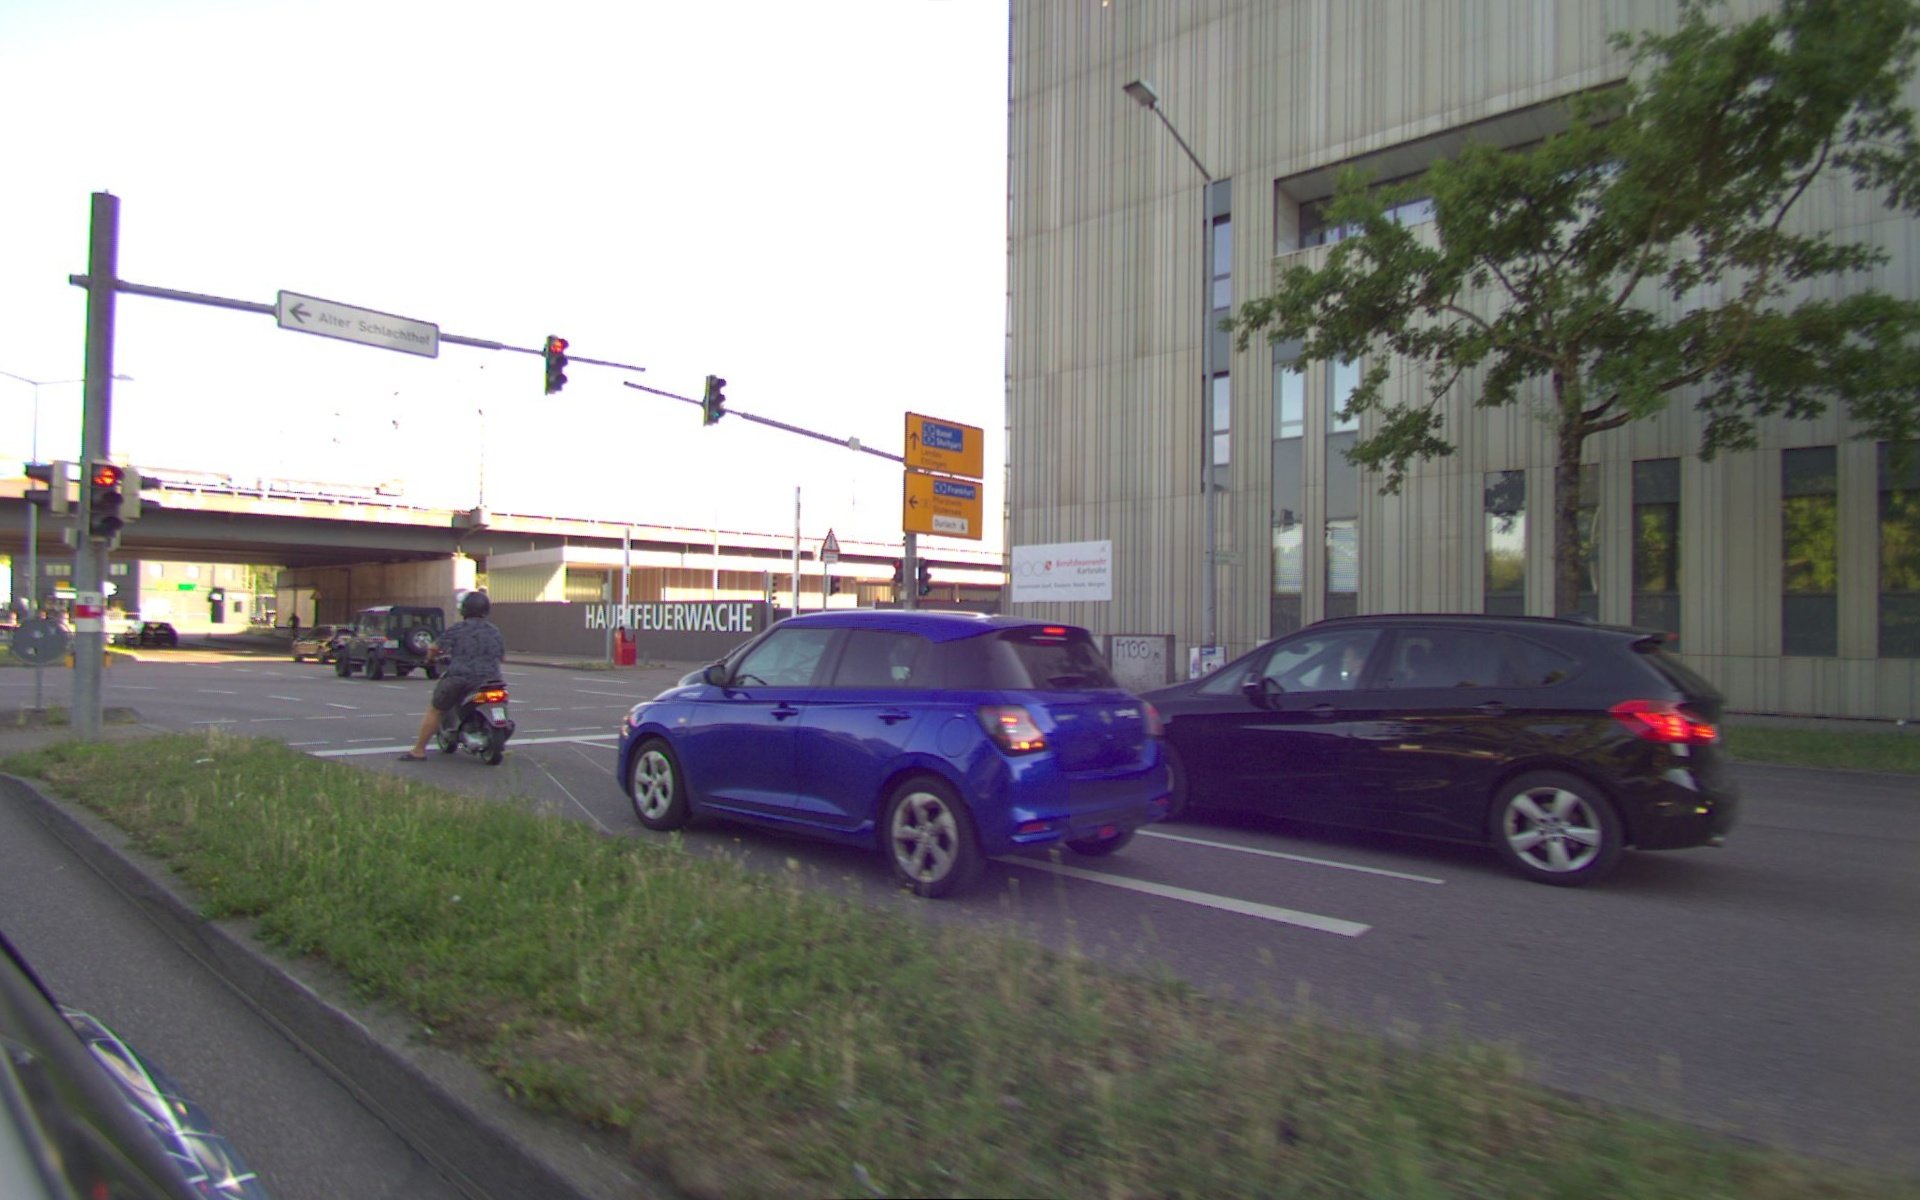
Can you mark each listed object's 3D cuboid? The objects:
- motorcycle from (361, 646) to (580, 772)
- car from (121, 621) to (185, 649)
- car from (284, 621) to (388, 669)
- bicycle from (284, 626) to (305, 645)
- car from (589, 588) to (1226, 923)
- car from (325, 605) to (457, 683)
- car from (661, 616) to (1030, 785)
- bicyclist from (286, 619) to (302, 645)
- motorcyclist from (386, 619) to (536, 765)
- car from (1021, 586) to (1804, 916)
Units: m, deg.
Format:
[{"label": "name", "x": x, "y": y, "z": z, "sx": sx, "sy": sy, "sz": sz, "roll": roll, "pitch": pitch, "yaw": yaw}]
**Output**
[{"label": "motorcycle", "x": -4.879, "y": 1.027, "z": 10.023, "sx": 2.395, "sy": 1.084, "sz": 0.833, "roll": -1, "pitch": -4, "yaw": 34}, {"label": "car", "x": -46.913, "y": 2.040, "z": 58.825, "sx": 4.345, "sy": 1.411, "sz": 1.973, "roll": 0, "pitch": -4, "yaw": 40}, {"label": "car", "x": -24.406, "y": 1.732, "z": 39.526, "sx": 4.711, "sy": 1.604, "sz": 1.973, "roll": 0, "pitch": -4, "yaw": 40}, {"label": "bicycle", "x": -41.753, "y": 2.217, "z": 63.519, "sx": 0.697, "sy": 1.165, "sz": 2.082, "roll": 0, "pitch": -2, "yaw": -45}, {"label": "car", "x": -0.515, "y": 0.744, "z": 6.364, "sx": 3.856, "sy": 1.463, "sz": 1.684, "roll": 0, "pitch": -5, "yaw": 41}, {"label": "car", "x": -15.866, "y": 1.251, "z": 28.168, "sx": 3.990, "sy": 1.994, "sz": 1.776, "roll": -2, "pitch": -6, "yaw": 40}, {"label": "car", "x": -1.413, "y": 0.980, "z": 11.644, "sx": 4.077, "sy": 1.486, "sz": 1.974, "roll": 0, "pitch": 1, "yaw": 40}, {"label": "bicyclist", "x": -41.840, "y": 2.024, "z": 63.580, "sx": 0.716, "sy": 1.575, "sz": 0.940, "roll": 0, "pitch": 0, "yaw": -45}, {"label": "motorcyclist", "x": -4.988, "y": 0.894, "z": 10.113, "sx": 1.271, "sy": 1.360, "sz": 0.790, "roll": -2, "pitch": -4, "yaw": 34}, {"label": "car", "x": 2.947, "y": 0.801, "z": 7.232, "sx": 4.711, "sy": 1.604, "sz": 1.973, "roll": 0, "pitch": -4, "yaw": 40}]
